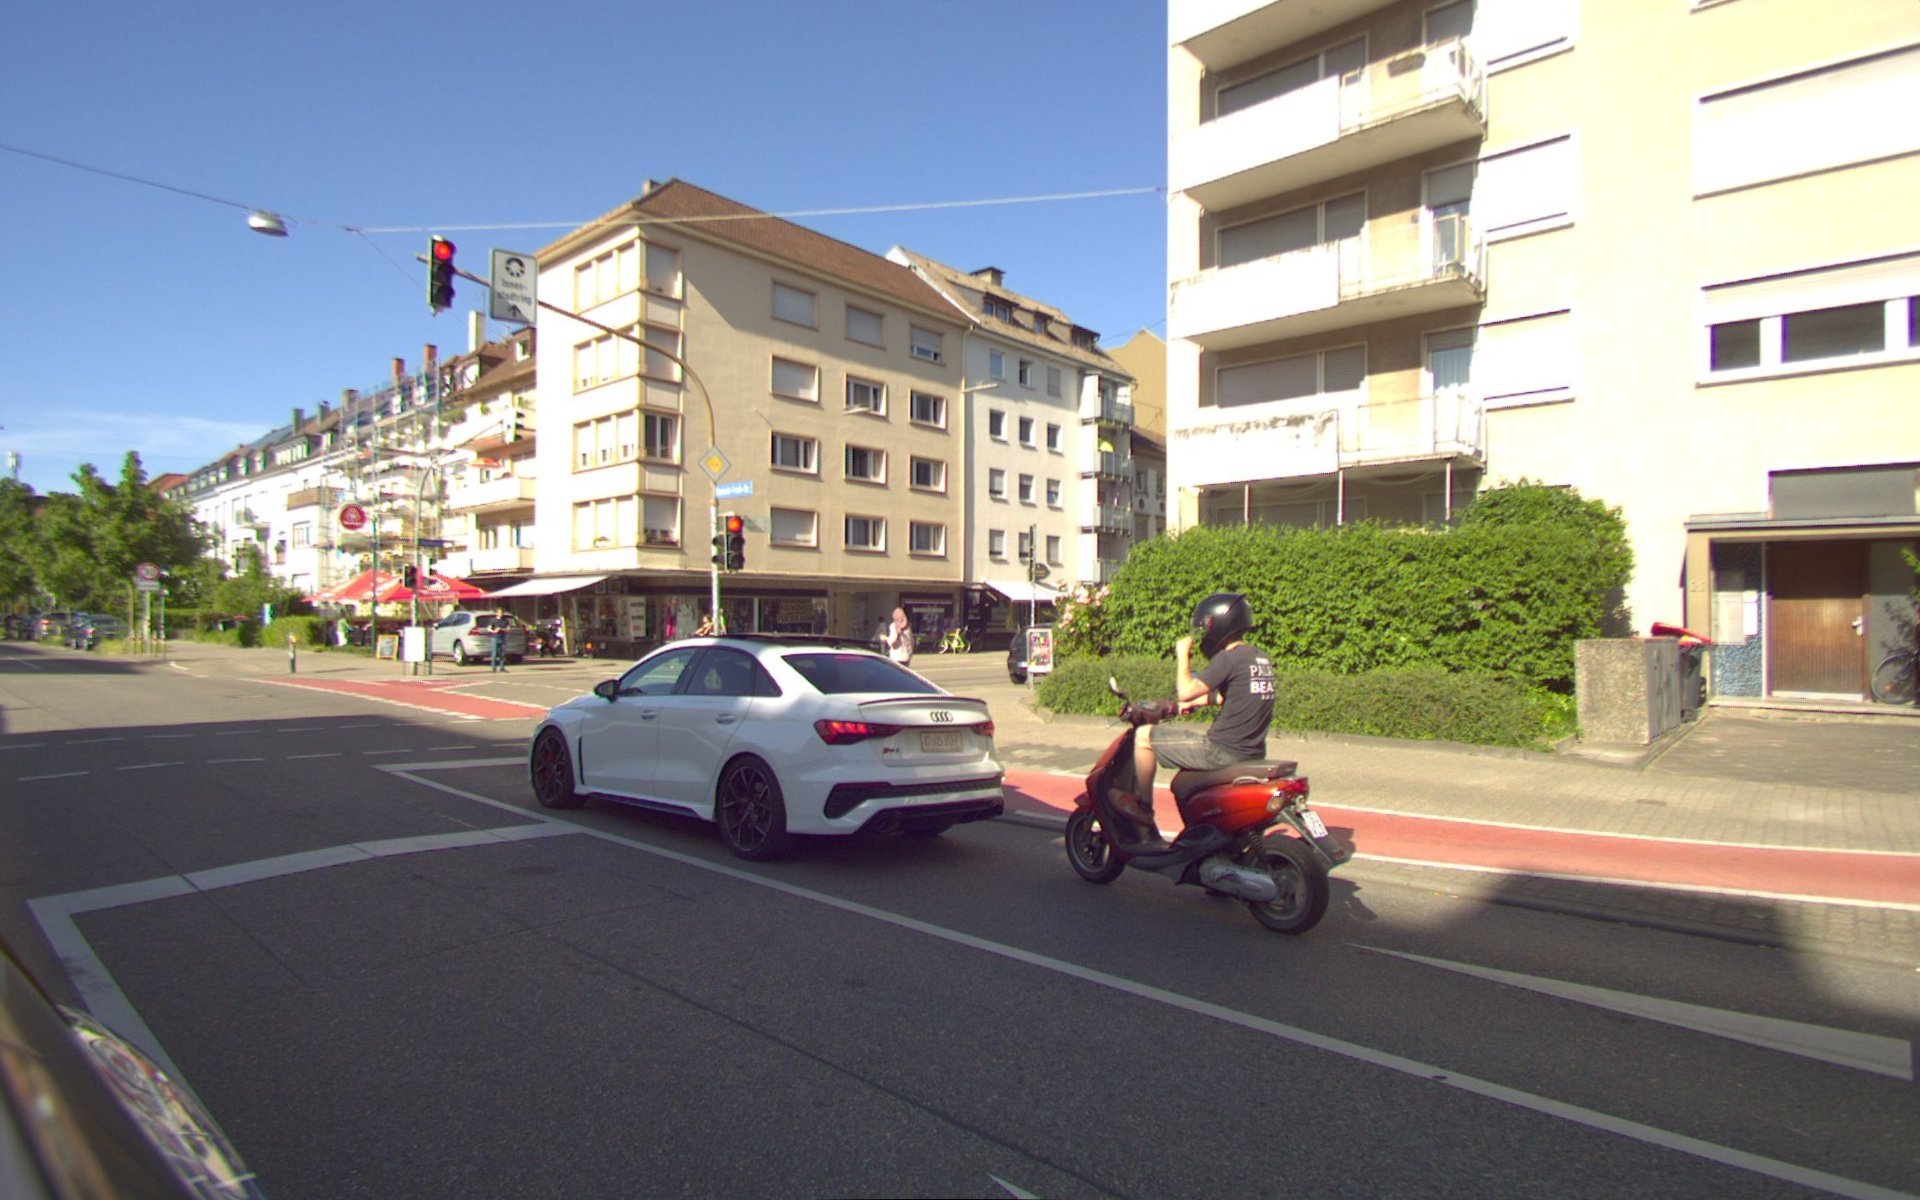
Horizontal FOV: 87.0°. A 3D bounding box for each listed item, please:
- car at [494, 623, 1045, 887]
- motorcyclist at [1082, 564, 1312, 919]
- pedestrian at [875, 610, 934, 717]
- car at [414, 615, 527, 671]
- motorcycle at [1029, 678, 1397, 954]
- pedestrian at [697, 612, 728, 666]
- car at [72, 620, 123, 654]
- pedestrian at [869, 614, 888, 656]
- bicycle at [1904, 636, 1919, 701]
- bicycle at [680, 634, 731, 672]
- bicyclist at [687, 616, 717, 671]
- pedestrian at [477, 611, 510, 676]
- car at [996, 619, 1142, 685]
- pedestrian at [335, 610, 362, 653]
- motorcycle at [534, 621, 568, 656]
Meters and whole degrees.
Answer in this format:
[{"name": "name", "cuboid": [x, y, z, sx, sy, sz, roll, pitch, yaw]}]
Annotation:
[{"name": "car", "cuboid": [-1.672, 0.924, 7.683, 4.504, 1.417, 1.680, -1, -4, 42]}, {"name": "motorcyclist", "cuboid": [1.243, 0.683, 5.335, 0.720, 1.659, 0.918, 4, -4, -43]}, {"name": "pedestrian", "cuboid": [-0.889, 0.998, 16.234, 0.682, 1.671, 0.650, -1, -1, 43]}, {"name": "car", "cuboid": [-15.428, 1.292, 31.810, 4.304, 1.634, 1.741, -1, -1, 43]}, {"name": "motorcycle", "cuboid": [1.240, 1.019, 5.339, 0.442, 1.130, 1.934, 4, -4, -44]}, {"name": "pedestrian", "cuboid": [-8.184, 1.278, 33.469, 0.683, 1.747, 0.718, 1, 0, 40]}, {"name": "car", "cuboid": [-36.650, 1.558, 42.979, 3.093, 1.366, 1.305, -1, -1, 43]}, {"name": "pedestrian", "cuboid": [-3.252, 1.388, 40.456, 0.719, 1.658, 0.563, 0, -1, 1]}, {"name": "bicycle", "cuboid": [12.399, 0.877, 12.789, 0.307, 0.825, 0.859, 0, -1, 16]}, {"name": "bicycle", "cuboid": [-7.675, 1.599, 30.592, 0.449, 1.084, 1.545, -1, -1, 40]}, {"name": "bicyclist", "cuboid": [-7.772, 1.306, 30.520, 0.578, 1.619, 0.677, -1, -1, 40]}, {"name": "pedestrian", "cuboid": [-12.755, 1.181, 27.676, 0.661, 1.731, 0.585, 1, 0, -39]}, {"name": "car", "cuboid": [2.690, 1.214, 24.397, 1.726, 1.432, 3.791, -4, -3, 38]}, {"name": "pedestrian", "cuboid": [-22.604, 1.147, 37.413, 0.535, 1.521, 0.635, -1, 2, 40]}, {"name": "motorcycle", "cuboid": [-16.328, 1.518, 40.393, 1.763, 1.378, 0.562, -1, -2, 44]}]
